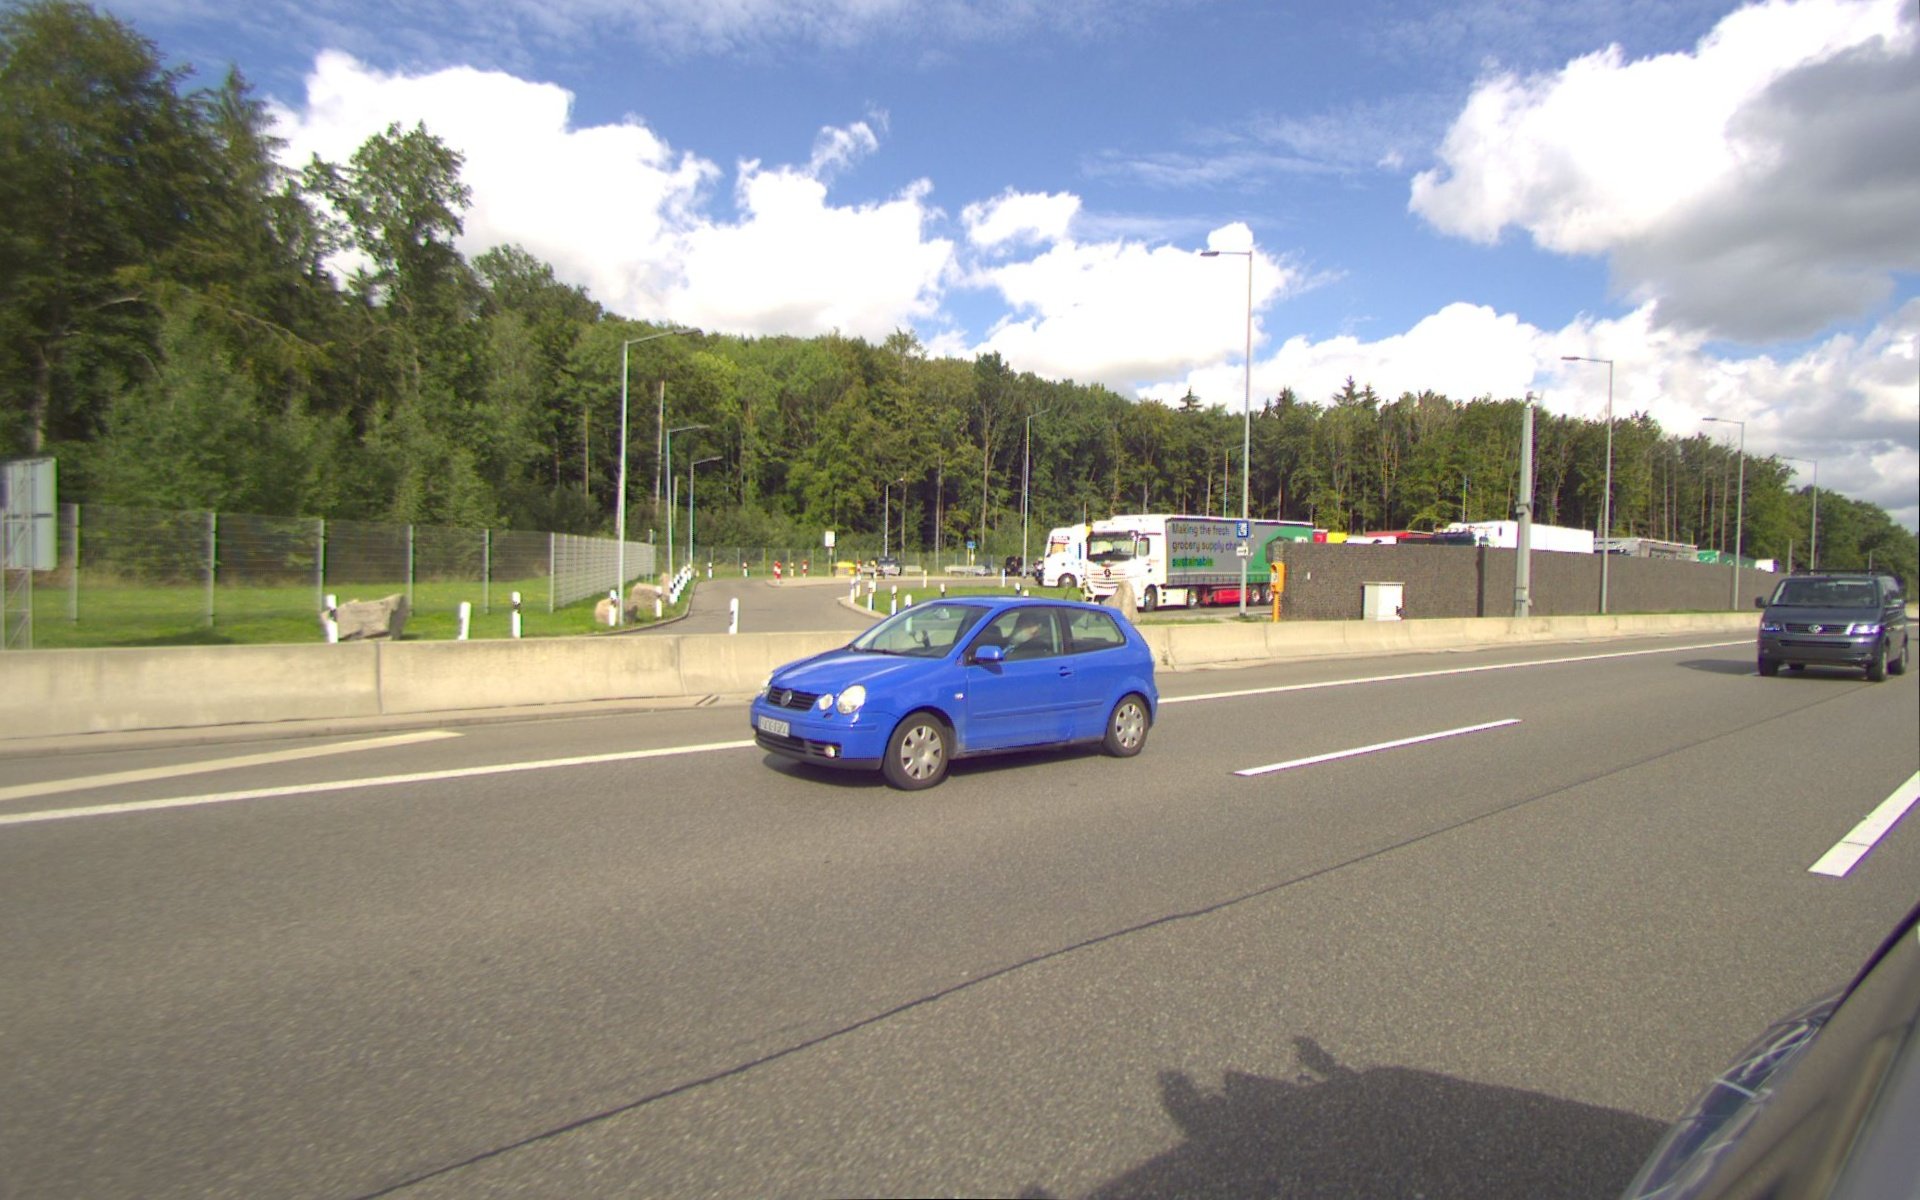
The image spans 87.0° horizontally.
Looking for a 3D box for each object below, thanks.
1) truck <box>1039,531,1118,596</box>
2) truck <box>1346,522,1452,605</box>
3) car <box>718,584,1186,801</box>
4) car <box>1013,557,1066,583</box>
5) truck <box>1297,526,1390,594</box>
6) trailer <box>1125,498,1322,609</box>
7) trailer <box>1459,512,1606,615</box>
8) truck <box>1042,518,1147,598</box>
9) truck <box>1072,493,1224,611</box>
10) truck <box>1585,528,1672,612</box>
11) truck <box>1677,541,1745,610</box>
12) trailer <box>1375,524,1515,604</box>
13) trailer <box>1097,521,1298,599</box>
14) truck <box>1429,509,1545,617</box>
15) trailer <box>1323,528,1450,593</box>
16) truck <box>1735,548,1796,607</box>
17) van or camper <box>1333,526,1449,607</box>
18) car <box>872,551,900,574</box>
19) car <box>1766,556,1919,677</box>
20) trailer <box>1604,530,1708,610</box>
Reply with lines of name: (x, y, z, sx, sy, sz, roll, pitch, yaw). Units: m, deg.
truck: (7.855, -2.440, 67.304, 5.081, 4.169, 2.568, 1, 1, 6)
truck: (25.580, -2.044, 58.808, 6.913, 4.563, 2.877, 0, 1, -41)
car: (0.083, 0.616, 8.767, 3.930, 1.460, 1.653, 0, 1, -41)
car: (6.302, -2.409, 80.625, 1.965, 1.938, 3.994, 0, 2, -41)
truck: (24.226, -2.454, 63.759, 6.147, 4.075, 2.979, -1, 0, -41)
trailer: (12.689, -1.984, 47.405, 2.873, 4.563, 12.794, 2, 2, 44)
trailer: (30.888, -1.791, 54.151, 12.884, 4.986, 2.659, 0, 2, -41)
truck: (7.922, -2.462, 60.225, 5.991, 4.564, 2.876, 1, 0, 6)
truck: (8.038, -1.919, 42.604, 2.871, 4.563, 7.066, 2, 2, 43)
truck: (42.221, -1.840, 63.836, 7.135, 4.986, 2.659, 0, 2, -41)
truck: (57.404, -1.837, 77.262, 6.848, 4.986, 2.659, 0, 2, -41)
trailer: (30.472, -2.102, 63.141, 13.456, 4.563, 2.876, 0, 1, -42)
trailer: (13.773, -2.323, 59.551, 11.188, 4.429, 2.840, 1, 0, 7)
truck: (26.080, -1.735, 49.909, 6.863, 4.986, 2.659, 0, 2, -41)
trailer: (28.734, -2.511, 67.747, 11.870, 4.075, 2.996, -1, 0, -42)
truck: (70.394, -1.952, 88.387, 7.252, 4.986, 2.661, 0, 2, -40)
van or camper: (18.172, -1.363, 42.614, 4.652, 3.237, 2.396, 0, 1, -35)
car: (-5.710, -2.869, 78.239, 1.920, 1.704, 4.002, 1, 2, -2)
car: (17.797, 0.289, 20.186, 4.846, 2.136, 1.852, 0, 0, -41)
trailer: (46.896, -1.892, 67.929, 12.521, 4.986, 2.659, 0, 2, -41)
